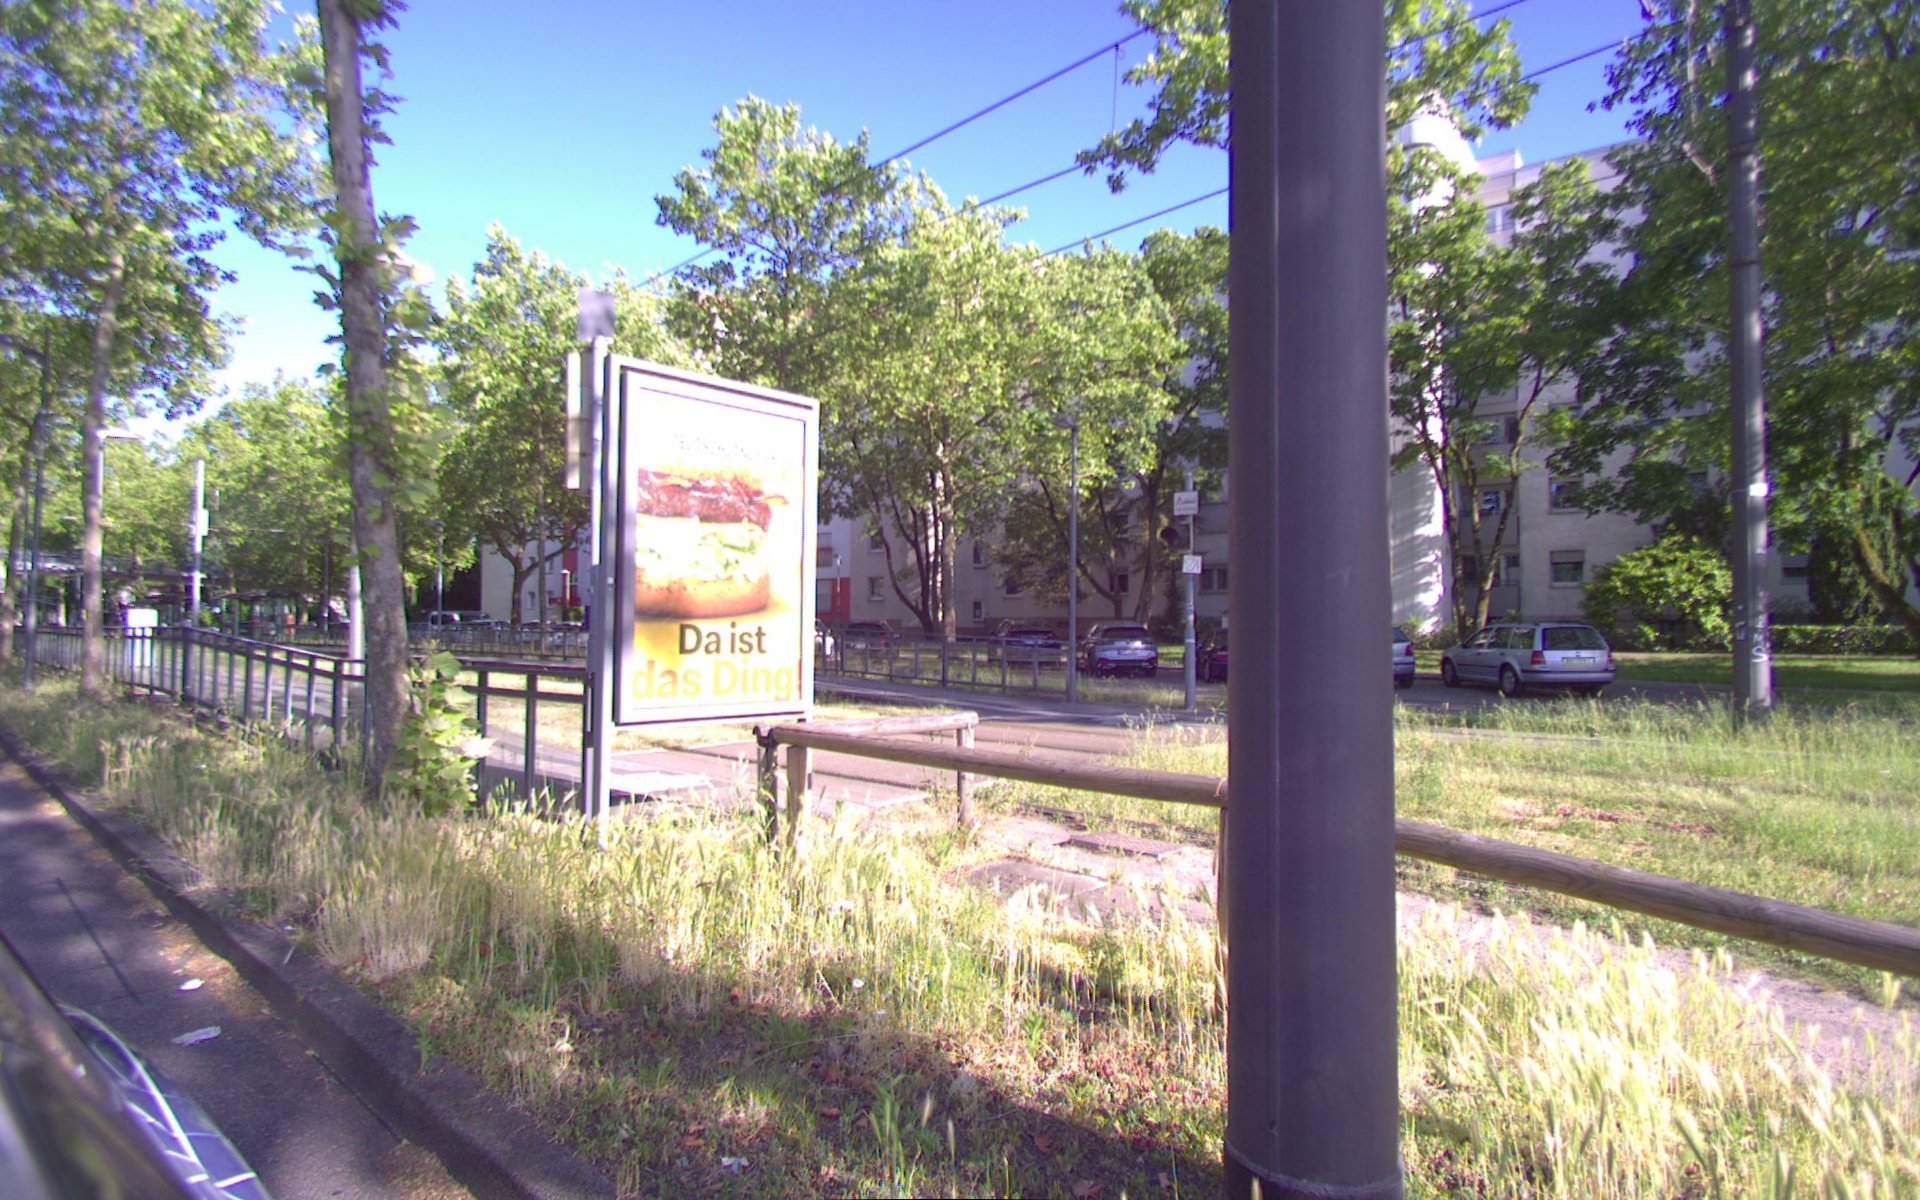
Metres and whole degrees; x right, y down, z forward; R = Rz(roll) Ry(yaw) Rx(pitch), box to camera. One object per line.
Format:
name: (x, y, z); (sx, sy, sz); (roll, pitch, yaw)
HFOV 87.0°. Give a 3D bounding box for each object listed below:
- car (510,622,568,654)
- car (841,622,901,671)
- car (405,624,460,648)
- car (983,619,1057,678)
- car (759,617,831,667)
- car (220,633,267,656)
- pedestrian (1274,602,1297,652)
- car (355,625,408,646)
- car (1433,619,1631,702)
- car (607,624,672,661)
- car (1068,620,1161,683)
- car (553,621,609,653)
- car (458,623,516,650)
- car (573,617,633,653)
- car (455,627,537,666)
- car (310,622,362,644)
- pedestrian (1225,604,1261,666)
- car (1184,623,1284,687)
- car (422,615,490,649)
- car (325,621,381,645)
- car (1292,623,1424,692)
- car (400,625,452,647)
car: (-21.187, 1.889, 51.084); (1.539, 1.436, 3.489); (-3, 0, -2)
car: (-3.007, 1.547, 34.668); (1.538, 1.439, 3.761); (-1, 0, 3)
car: (-30.937, 2.104, 59.408); (1.459, 1.354, 3.488); (0, -1, -1)
car: (1.706, 1.379, 29.822); (1.669, 1.499, 4.003); (-1, 0, -4)
car: (-5.997, 1.491, 37.217); (1.791, 1.607, 3.997); (-1, 0, 3)
car: (-50.258, 3.102, 70.975); (4.100, 1.523, 1.746); (-1, -2, 41)
pedestrian: (11.770, 0.971, 36.636); (0.634, 1.770, 0.516); (-1, -2, 39)
car: (-37.555, 2.284, 65.773); (1.459, 1.330, 3.488); (0, -1, -1)
car: (11.534, 1.155, 20.740); (1.685, 1.454, 3.978); (-1, 0, -2)
car: (-14.031, 1.846, 44.483); (1.470, 1.425, 3.880); (-1, 0, 3)
car: (4.131, 1.337, 27.685); (1.650, 1.469, 4.004); (-1, 0, -4)
car: (-18.515, 1.790, 49.538); (1.459, 1.339, 3.488); (-2, 0, -1)
car: (-25.852, 1.980, 55.450); (1.605, 1.414, 3.488); (0, -1, -1)
car: (-16.568, 1.613, 47.049); (1.445, 1.519, 3.393); (-1, 0, 3)
car: (-19.709, 1.920, 42.913); (1.785, 1.534, 4.332); (1, -2, -45)
car: (-44.747, 2.359, 72.602); (1.578, 1.538, 3.737); (0, -1, -3)
pedestrian: (8.227, 1.019, 29.393); (0.755, 1.770, 0.752); (-2, -2, 41)
car: (6.748, 1.320, 25.327); (1.572, 1.360, 3.922); (-1, 0, 3)
car: (-28.407, 1.795, 57.184); (1.843, 1.826, 4.047); (0, -1, 0)
car: (-40.759, 2.212, 68.036); (1.578, 1.582, 3.830); (0, -1, -3)
car: (9.142, 1.268, 23.541); (1.553, 1.431, 3.620); (-1, -1, -1)
car: (-33.034, 2.209, 62.728); (1.459, 1.311, 3.488); (0, -1, -1)
